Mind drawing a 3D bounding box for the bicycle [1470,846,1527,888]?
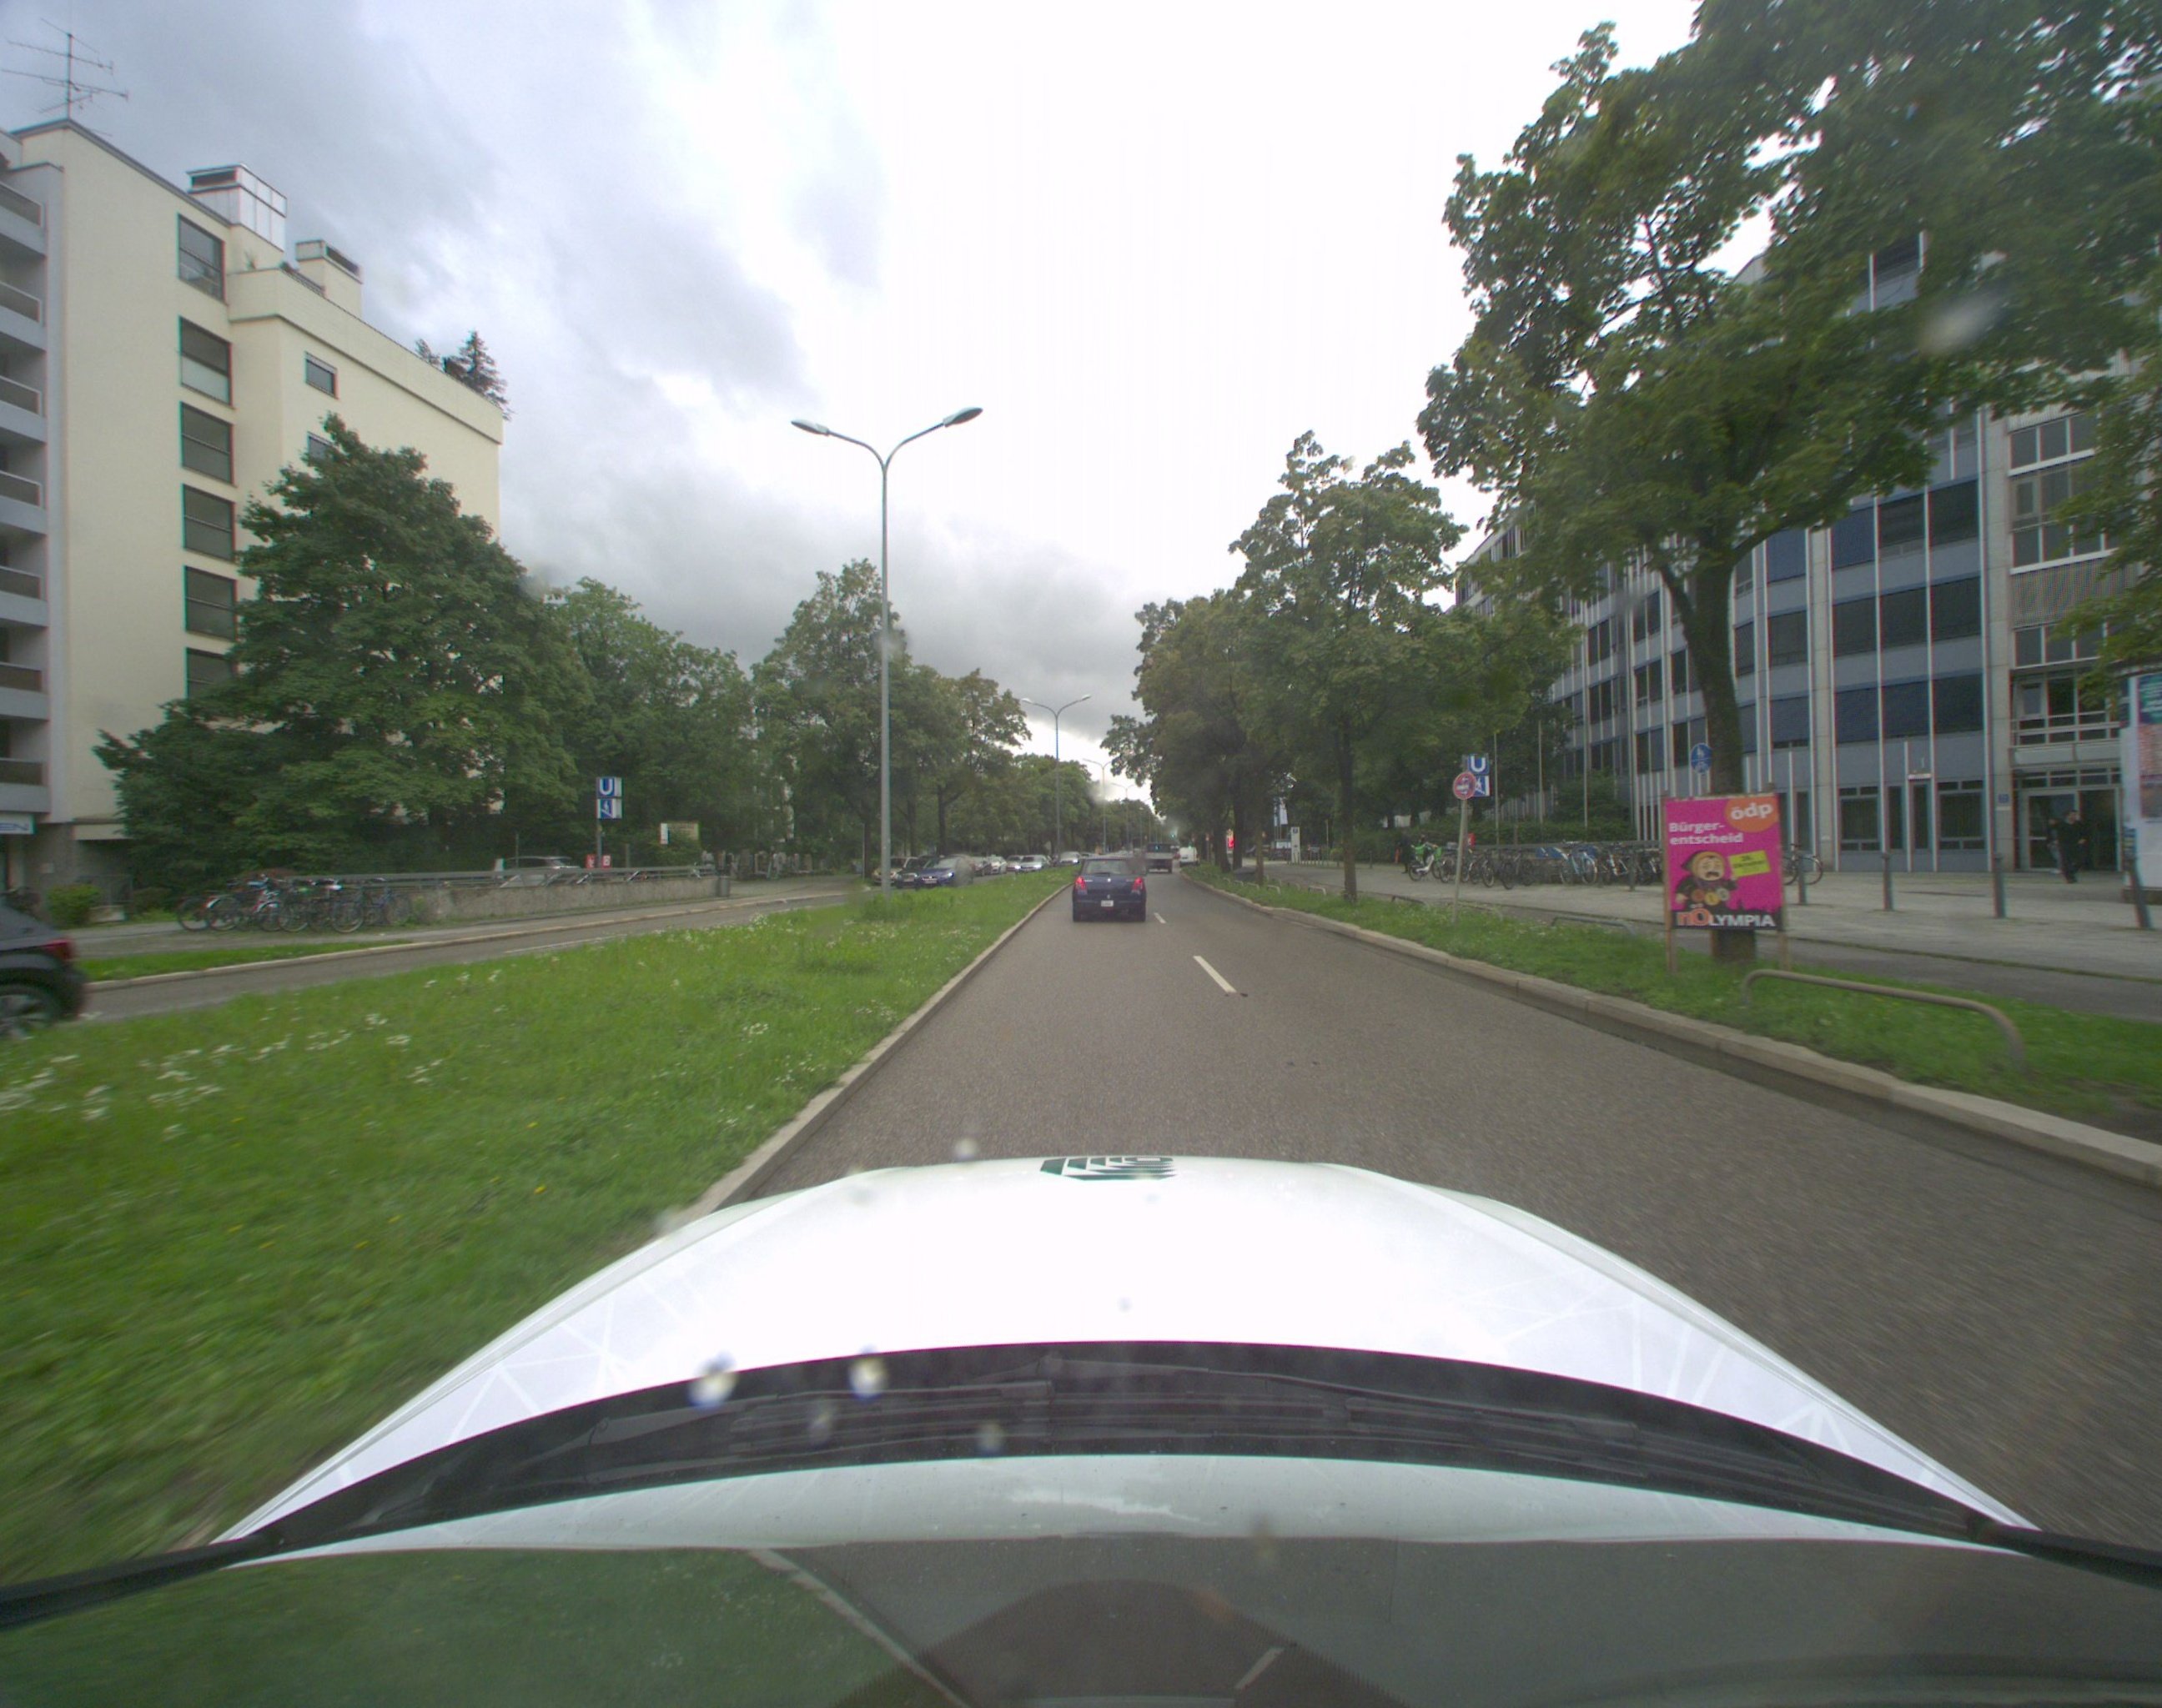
[{"bbox_3d":[12.243,0.380,23.842,2.051,1.089,0.598,-3,-2,-38],"label":"bicycle"}]

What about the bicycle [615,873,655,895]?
[{"bbox_3d":[-21.522,1.439,39.326,0.575,1.007,2.036,-2,0,8],"label":"bicycle"}]

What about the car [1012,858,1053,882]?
[{"bbox_3d":[-3.213,1.044,54.948,1.905,1.484,4.873,-2,0,6],"label":"car"}]

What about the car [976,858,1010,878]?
[{"bbox_3d":[-7.085,1.076,66.189,1.729,1.529,4.485,0,0,8],"label":"car"}]

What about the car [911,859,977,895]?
[{"bbox_3d":[-5.797,0.943,34.899,1.683,1.402,3.974,-2,0,6],"label":"car"}]

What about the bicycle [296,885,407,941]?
[{"bbox_3d":[-15.986,1.261,17.914,0.405,1.078,1.959,3,1,10],"label":"bicycle"}]

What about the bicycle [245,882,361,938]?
[{"bbox_3d":[-17.191,1.211,18.066,0.405,1.072,1.959,3,1,10],"label":"bicycle"}]

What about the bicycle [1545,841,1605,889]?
[{"bbox_3d":[12.868,0.266,21.281,0.485,1.189,1.956,-2,0,4],"label":"bicycle"}]

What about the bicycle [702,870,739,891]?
[{"bbox_3d":[-18.566,1.378,41.919,1.753,1.007,0.437,-2,0,7],"label":"bicycle"}]

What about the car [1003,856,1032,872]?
[{"bbox_3d":[-5.856,0.913,75.921,1.727,1.448,4.832,1,0,7],"label":"car"}]

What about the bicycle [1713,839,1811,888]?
[{"bbox_3d":[17.274,0.233,20.726,0.576,1.189,2.139,-2,0,-3],"label":"bicycle"}]

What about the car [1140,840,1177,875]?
[{"bbox_3d":[5.715,0.221,59.358,2.404,2.444,5.099,0,0,9],"label":"car"}]

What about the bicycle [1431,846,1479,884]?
[{"bbox_3d":[12.565,0.360,27.351,1.964,1.108,0.574,-6,2,-38],"label":"bicycle"}]

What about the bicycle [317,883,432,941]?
[{"bbox_3d":[-15.458,1.237,17.897,0.405,1.089,2.090,3,1,10],"label":"bicycle"}]

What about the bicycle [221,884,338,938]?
[{"bbox_3d":[-17.773,1.244,18.123,0.405,1.030,1.959,3,1,10],"label":"bicycle"}]

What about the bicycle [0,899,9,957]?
[{"bbox_3d":[-21.695,1.386,15.590,1.936,1.103,0.561,3,0,10],"label":"bicycle"}]

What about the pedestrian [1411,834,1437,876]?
[{"bbox_3d":[14.151,0.053,33.613,0.775,1.714,0.755,-2,0,36],"label":"pedestrian"}]

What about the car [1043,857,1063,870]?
[{"bbox_3d":[-3.243,1.077,94.741,1.616,1.423,4.202,1,0,8],"label":"car"}]

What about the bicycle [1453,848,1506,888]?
[{"bbox_3d":[12.191,0.409,24.879,1.964,1.066,0.574,-4,0,-38],"label":"bicycle"}]

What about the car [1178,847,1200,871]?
[{"bbox_3d":[10.762,0.487,81.225,1.976,2.157,5.567,-2,0,8],"label":"car"}]

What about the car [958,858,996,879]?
[{"bbox_3d":[-7.777,1.030,61.351,1.729,1.483,4.343,1,0,8],"label":"car"}]

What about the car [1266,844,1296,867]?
[{"bbox_3d":[21.459,0.185,87.583,2.253,2.306,6.278,-2,0,6],"label":"car"}]

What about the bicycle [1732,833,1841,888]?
[{"bbox_3d":[18.033,0.161,20.905,0.507,1.294,2.475,-2,0,-3],"label":"bicycle"}]

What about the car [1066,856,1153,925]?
[{"bbox_3d":[0.768,0.804,19.700,1.887,1.499,3.664,0,0,4],"label":"car"}]

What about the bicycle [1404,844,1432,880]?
[{"bbox_3d":[12.768,0.284,30.893,0.527,1.226,1.867,-4,1,11],"label":"bicycle"}]

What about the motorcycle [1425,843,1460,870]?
[{"bbox_3d":[17.936,0.135,40.433,0.548,1.318,2.068,-2,0,-7],"label":"motorcycle"}]

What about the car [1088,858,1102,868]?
[{"bbox_3d":[2.418,1.471,136.315,1.822,1.609,4.501,1,0,8],"label":"car"}]

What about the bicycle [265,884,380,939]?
[{"bbox_3d":[-16.653,1.237,17.948,0.405,1.040,1.959,3,1,10],"label":"bicycle"}]

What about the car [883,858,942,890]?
[{"bbox_3d":[-8.364,0.960,40.687,1.683,1.484,3.974,-2,0,6],"label":"car"}]

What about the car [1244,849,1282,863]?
[{"bbox_3d":[27.561,0.299,123.369,5.441,2.083,2.151,-1,0,6],"label":"car"}]

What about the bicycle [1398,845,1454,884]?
[{"bbox_3d":[11.895,0.349,28.054,1.959,1.189,0.592,-5,1,-27],"label":"bicycle"}]

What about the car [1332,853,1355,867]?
[{"bbox_3d":[27.923,0.608,86.663,1.766,1.374,3.988,-1,0,25],"label":"car"}]

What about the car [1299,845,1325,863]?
[{"bbox_3d":[24.857,-0.011,87.767,1.833,1.818,4.479,-2,0,6],"label":"car"}]

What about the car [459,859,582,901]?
[{"bbox_3d":[-22.998,1.063,33.491,3.964,1.589,1.753,-2,0,8],"label":"car"}]

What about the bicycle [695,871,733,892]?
[{"bbox_3d":[-18.635,1.395,41.329,1.753,1.007,0.437,-2,0,7],"label":"bicycle"}]

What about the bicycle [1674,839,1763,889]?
[{"bbox_3d":[16.058,0.246,20.589,0.444,1.189,2.139,-2,0,-3],"label":"bicycle"}]

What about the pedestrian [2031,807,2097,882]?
[{"bbox_3d":[24.219,-0.229,20.081,0.681,1.772,0.773,-2,0,17],"label":"pedestrian"}]

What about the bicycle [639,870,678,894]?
[{"bbox_3d":[-20.382,1.341,39.350,0.575,1.099,2.036,-2,0,8],"label":"bicycle"}]

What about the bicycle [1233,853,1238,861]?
[{"bbox_3d":[25.398,0.502,133.832,0.744,1.183,2.251,-1,0,7],"label":"bicycle"}]

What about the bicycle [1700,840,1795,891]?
[{"bbox_3d":[16.604,0.269,20.364,0.510,1.189,2.139,-2,0,-3],"label":"bicycle"}]

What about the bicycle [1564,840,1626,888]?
[{"bbox_3d":[13.386,0.256,21.266,0.485,1.189,1.956,-2,0,4],"label":"bicycle"}]

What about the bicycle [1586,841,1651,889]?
[{"bbox_3d":[13.964,0.273,21.222,0.485,1.189,1.956,-2,0,4],"label":"bicycle"}]

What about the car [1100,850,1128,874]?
[{"bbox_3d":[2.198,0.538,54.608,1.792,1.499,3.662,-2,0,2],"label":"car"}]

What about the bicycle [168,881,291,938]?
[{"bbox_3d":[-18.875,1.201,18.124,0.405,1.097,1.959,3,1,10],"label":"bicycle"}]

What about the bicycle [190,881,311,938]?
[{"bbox_3d":[-18.361,1.191,18.069,0.405,1.103,1.959,3,1,10],"label":"bicycle"}]

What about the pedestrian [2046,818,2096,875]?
[{"bbox_3d":[30.209,-0.231,24.860,0.646,1.678,0.703,-2,0,19],"label":"pedestrian"}]

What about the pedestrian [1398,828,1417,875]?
[{"bbox_3d":[13.236,-0.099,33.031,0.645,1.899,0.753,-2,0,23],"label":"pedestrian"}]

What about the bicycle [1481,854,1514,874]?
[{"bbox_3d":[19.831,0.455,38.825,0.679,0.853,1.836,-2,1,3],"label":"bicycle"}]

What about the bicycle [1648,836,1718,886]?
[{"bbox_3d":[15.395,0.172,20.897,0.443,1.189,1.956,-2,0,4],"label":"bicycle"}]

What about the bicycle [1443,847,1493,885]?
[{"bbox_3d":[12.493,0.384,26.281,1.964,1.083,0.590,-4,1,-38],"label":"bicycle"}]

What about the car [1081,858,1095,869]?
[{"bbox_3d":[1.064,1.422,126.324,1.748,1.595,4.497,1,0,6],"label":"car"}]

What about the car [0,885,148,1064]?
[{"bbox_3d":[-9.701,1.017,5.535,1.773,1.406,4.108,-2,0,5],"label":"car"}]

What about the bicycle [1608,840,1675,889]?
[{"bbox_3d":[14.571,0.261,21.239,0.485,1.189,1.956,-2,0,4],"label":"bicycle"}]

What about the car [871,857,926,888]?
[{"bbox_3d":[-10.016,0.971,44.861,1.637,1.614,3.828,0,0,9],"label":"car"}]

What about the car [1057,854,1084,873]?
[{"bbox_3d":[-0.909,0.810,72.749,1.756,1.624,4.386,-2,0,7],"label":"car"}]

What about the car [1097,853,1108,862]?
[{"bbox_3d":[3.925,0.554,149.350,1.682,1.565,3.084,-2,0,5],"label":"car"}]

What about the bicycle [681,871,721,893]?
[{"bbox_3d":[-18.571,1.384,39.812,1.753,1.007,0.437,-2,0,7],"label":"bicycle"}]

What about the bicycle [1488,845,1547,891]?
[{"bbox_3d":[11.937,0.375,22.242,2.042,1.099,0.574,-4,-1,-39],"label":"bicycle"}]

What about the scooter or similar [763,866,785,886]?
[{"bbox_3d":[-17.819,1.290,47.268,0.431,1.127,1.296,-2,0,20],"label":"scooter or similar"}]
